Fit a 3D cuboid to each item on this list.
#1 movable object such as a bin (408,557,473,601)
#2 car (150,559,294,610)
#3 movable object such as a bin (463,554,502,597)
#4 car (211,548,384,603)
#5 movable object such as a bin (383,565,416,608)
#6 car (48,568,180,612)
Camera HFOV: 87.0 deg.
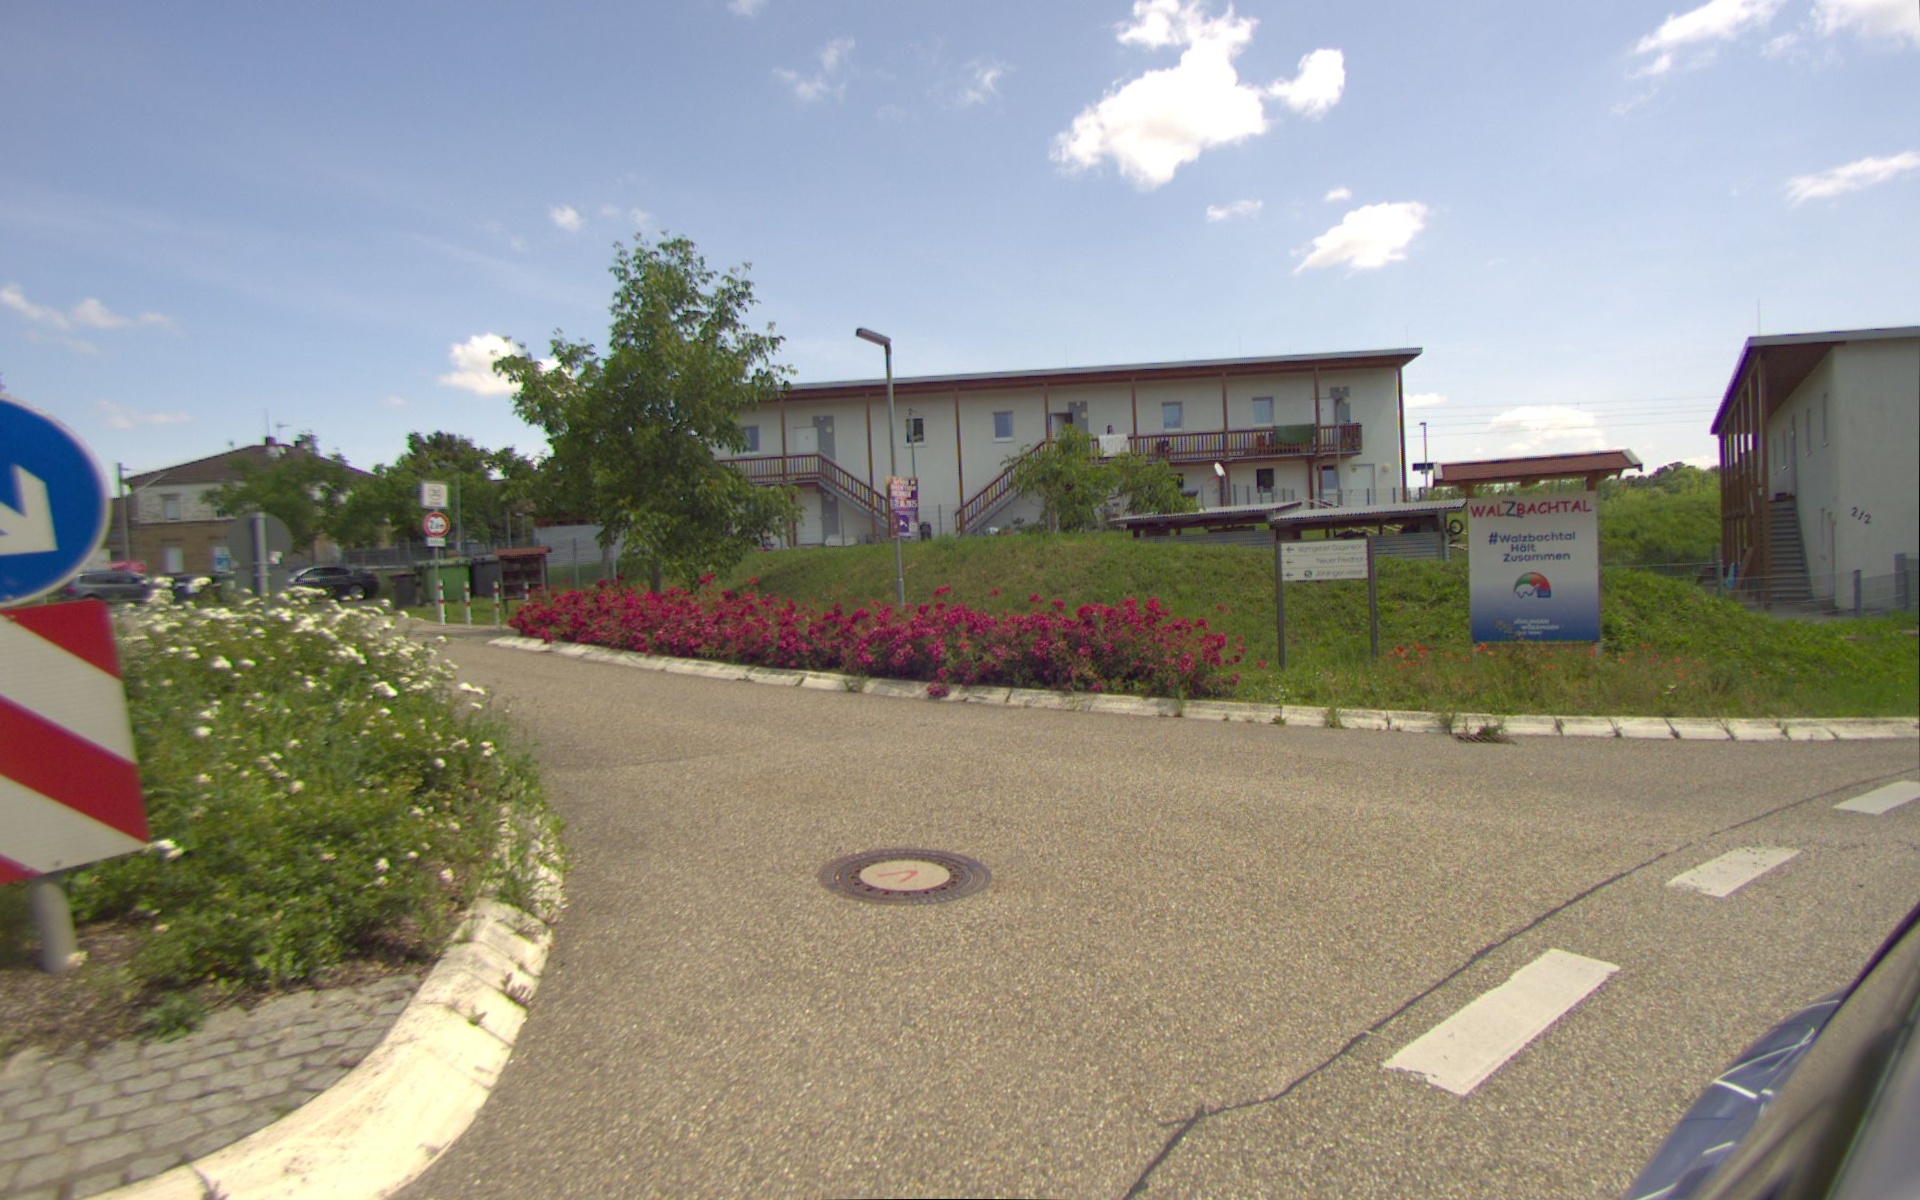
[{"bbox_3d":[-14.168,-0.567,27.619,1.343,1.117,0.965,-1,-3,-43],"label":"movable object such as a bin"},{"bbox_3d":[-29.131,-0.594,40.042,1.986,1.792,4.175,-4,-2,34],"label":"car"},{"bbox_3d":[-13.448,-0.679,28.495,0.779,1.132,0.759,-1,-3,-43],"label":"movable object such as a bin"},{"bbox_3d":[-24.432,-0.849,37.527,1.986,1.792,4.999,-4,-2,34],"label":"car"},{"bbox_3d":[-14.919,-0.354,26.933,0.616,1.095,0.624,-1,-3,-43],"label":"movable object such as a bin"},{"bbox_3d":[-38.062,-0.445,45.615,1.986,1.792,4.175,-4,-2,34],"label":"car"}]
